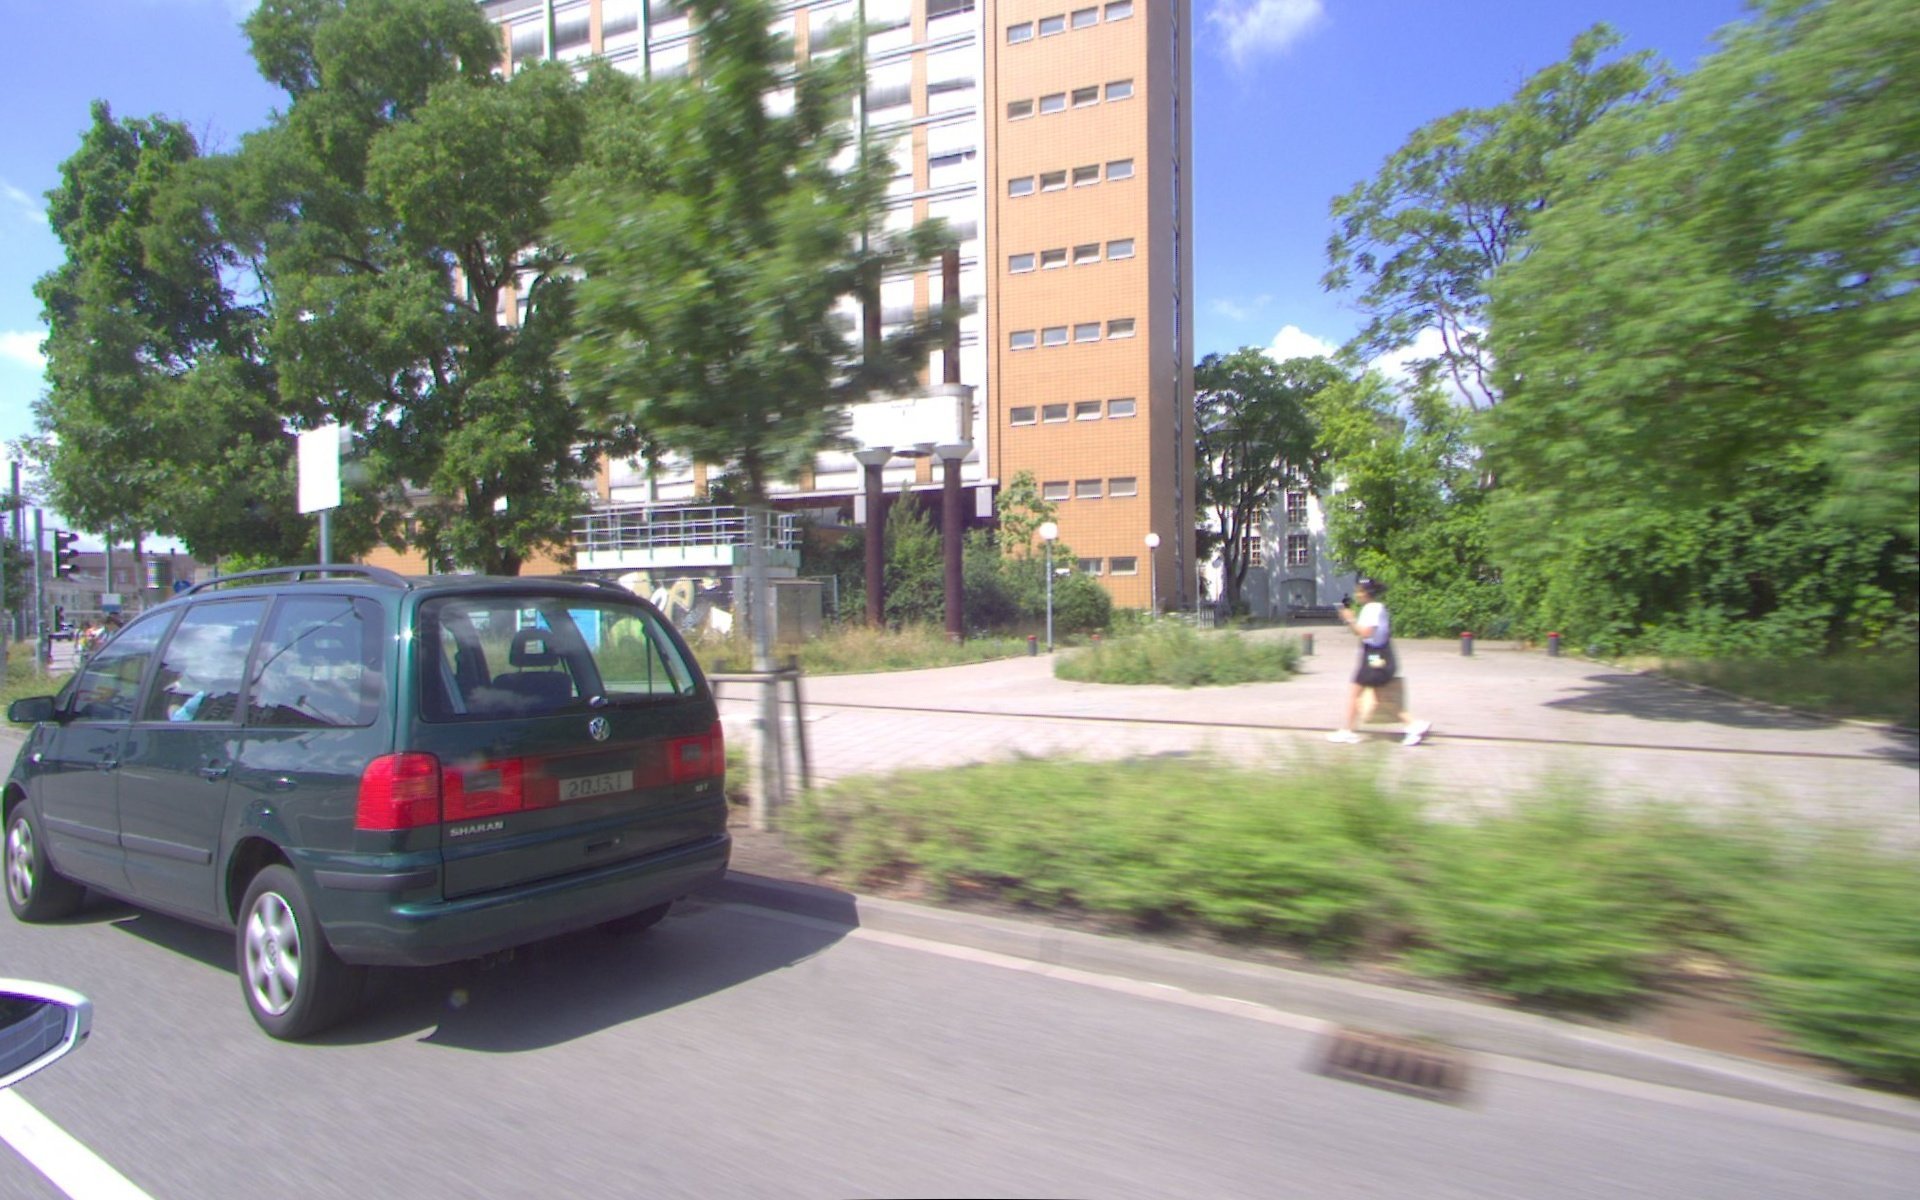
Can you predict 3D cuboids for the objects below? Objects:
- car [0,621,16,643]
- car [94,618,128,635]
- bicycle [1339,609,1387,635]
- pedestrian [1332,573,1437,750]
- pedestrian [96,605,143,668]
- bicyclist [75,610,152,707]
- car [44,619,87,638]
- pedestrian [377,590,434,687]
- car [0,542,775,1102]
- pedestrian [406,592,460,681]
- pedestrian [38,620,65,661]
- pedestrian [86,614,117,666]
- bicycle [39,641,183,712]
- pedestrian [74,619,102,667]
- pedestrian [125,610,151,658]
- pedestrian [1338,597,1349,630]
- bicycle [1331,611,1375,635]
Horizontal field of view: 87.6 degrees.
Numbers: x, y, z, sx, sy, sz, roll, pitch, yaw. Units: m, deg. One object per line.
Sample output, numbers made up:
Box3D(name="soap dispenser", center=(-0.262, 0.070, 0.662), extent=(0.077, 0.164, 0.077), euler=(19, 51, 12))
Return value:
Box3D(name="car", center=(-73.145, 2.426, 75.744), extent=(1.862, 1.663, 3.932), euler=(0, -1, -33))
Box3D(name="car", center=(-85.787, 2.674, 101.171), extent=(1.860, 1.663, 3.938), euler=(0, -1, -29))
Box3D(name="bicycle", center=(21.562, 1.167, 53.555), extent=(2.327, 1.364, 0.637), euler=(-1, -2, 19))
Box3D(name="pedestrian", center=(4.060, 0.559, 9.631), extent=(0.866, 1.618, 0.750), euler=(0, 2, 18))
Box3D(name="pedestrian", center=(-25.627, 1.104, 30.522), extent=(0.768, 1.846, 0.755), euler=(-1, 3, 28))
Box3D(name="bicyclist", center=(-14.896, 1.010, 17.627), extent=(0.571, 1.623, 0.825), euler=(-2, 2, 32))
Box3D(name="car", center=(-82.156, 2.568, 92.023), extent=(1.857, 1.663, 3.943), euler=(0, -1, -24))
Box3D(name="pedestrian", center=(-10.776, 0.732, 19.472), extent=(0.601, 1.827, 0.748), euler=(0, 2, 32))
Box3D(name="car", center=(-3.185, 0.758, 5.087), extent=(4.385, 1.744, 1.791), euler=(-1, -3, 33))
Box3D(name="pedestrian", center=(-10.751, 0.721, 20.428), extent=(0.601, 1.776, 0.748), euler=(0, 2, 32))
Box3D(name="pedestrian", center=(-36.713, 1.629, 40.464), extent=(0.750, 1.610, 0.755), euler=(1, -2, -41))
Box3D(name="pedestrian", center=(-27.902, 1.304, 32.557), extent=(0.718, 1.646, 0.586), euler=(-1, -2, 34))
Box3D(name="bicycle", center=(-14.893, 1.316, 17.620), extent=(0.583, 1.064, 1.805), euler=(-2, 1, 32))
Box3D(name="pedestrian", center=(-30.628, 1.508, 35.166), extent=(0.645, 1.647, 0.768), euler=(-4, 1, -41))
Box3D(name="pedestrian", center=(-32.246, 1.329, 39.285), extent=(0.751, 1.844, 0.668), euler=(1, -2, -43))
Box3D(name="pedestrian", center=(21.682, 0.775, 56.668), extent=(0.498, 1.874, 0.495), euler=(-1, -1, 16))
Box3D(name="bicycle", center=(22.498, 1.315, 57.385), extent=(2.327, 1.364, 0.637), euler=(-1, -2, 19))
